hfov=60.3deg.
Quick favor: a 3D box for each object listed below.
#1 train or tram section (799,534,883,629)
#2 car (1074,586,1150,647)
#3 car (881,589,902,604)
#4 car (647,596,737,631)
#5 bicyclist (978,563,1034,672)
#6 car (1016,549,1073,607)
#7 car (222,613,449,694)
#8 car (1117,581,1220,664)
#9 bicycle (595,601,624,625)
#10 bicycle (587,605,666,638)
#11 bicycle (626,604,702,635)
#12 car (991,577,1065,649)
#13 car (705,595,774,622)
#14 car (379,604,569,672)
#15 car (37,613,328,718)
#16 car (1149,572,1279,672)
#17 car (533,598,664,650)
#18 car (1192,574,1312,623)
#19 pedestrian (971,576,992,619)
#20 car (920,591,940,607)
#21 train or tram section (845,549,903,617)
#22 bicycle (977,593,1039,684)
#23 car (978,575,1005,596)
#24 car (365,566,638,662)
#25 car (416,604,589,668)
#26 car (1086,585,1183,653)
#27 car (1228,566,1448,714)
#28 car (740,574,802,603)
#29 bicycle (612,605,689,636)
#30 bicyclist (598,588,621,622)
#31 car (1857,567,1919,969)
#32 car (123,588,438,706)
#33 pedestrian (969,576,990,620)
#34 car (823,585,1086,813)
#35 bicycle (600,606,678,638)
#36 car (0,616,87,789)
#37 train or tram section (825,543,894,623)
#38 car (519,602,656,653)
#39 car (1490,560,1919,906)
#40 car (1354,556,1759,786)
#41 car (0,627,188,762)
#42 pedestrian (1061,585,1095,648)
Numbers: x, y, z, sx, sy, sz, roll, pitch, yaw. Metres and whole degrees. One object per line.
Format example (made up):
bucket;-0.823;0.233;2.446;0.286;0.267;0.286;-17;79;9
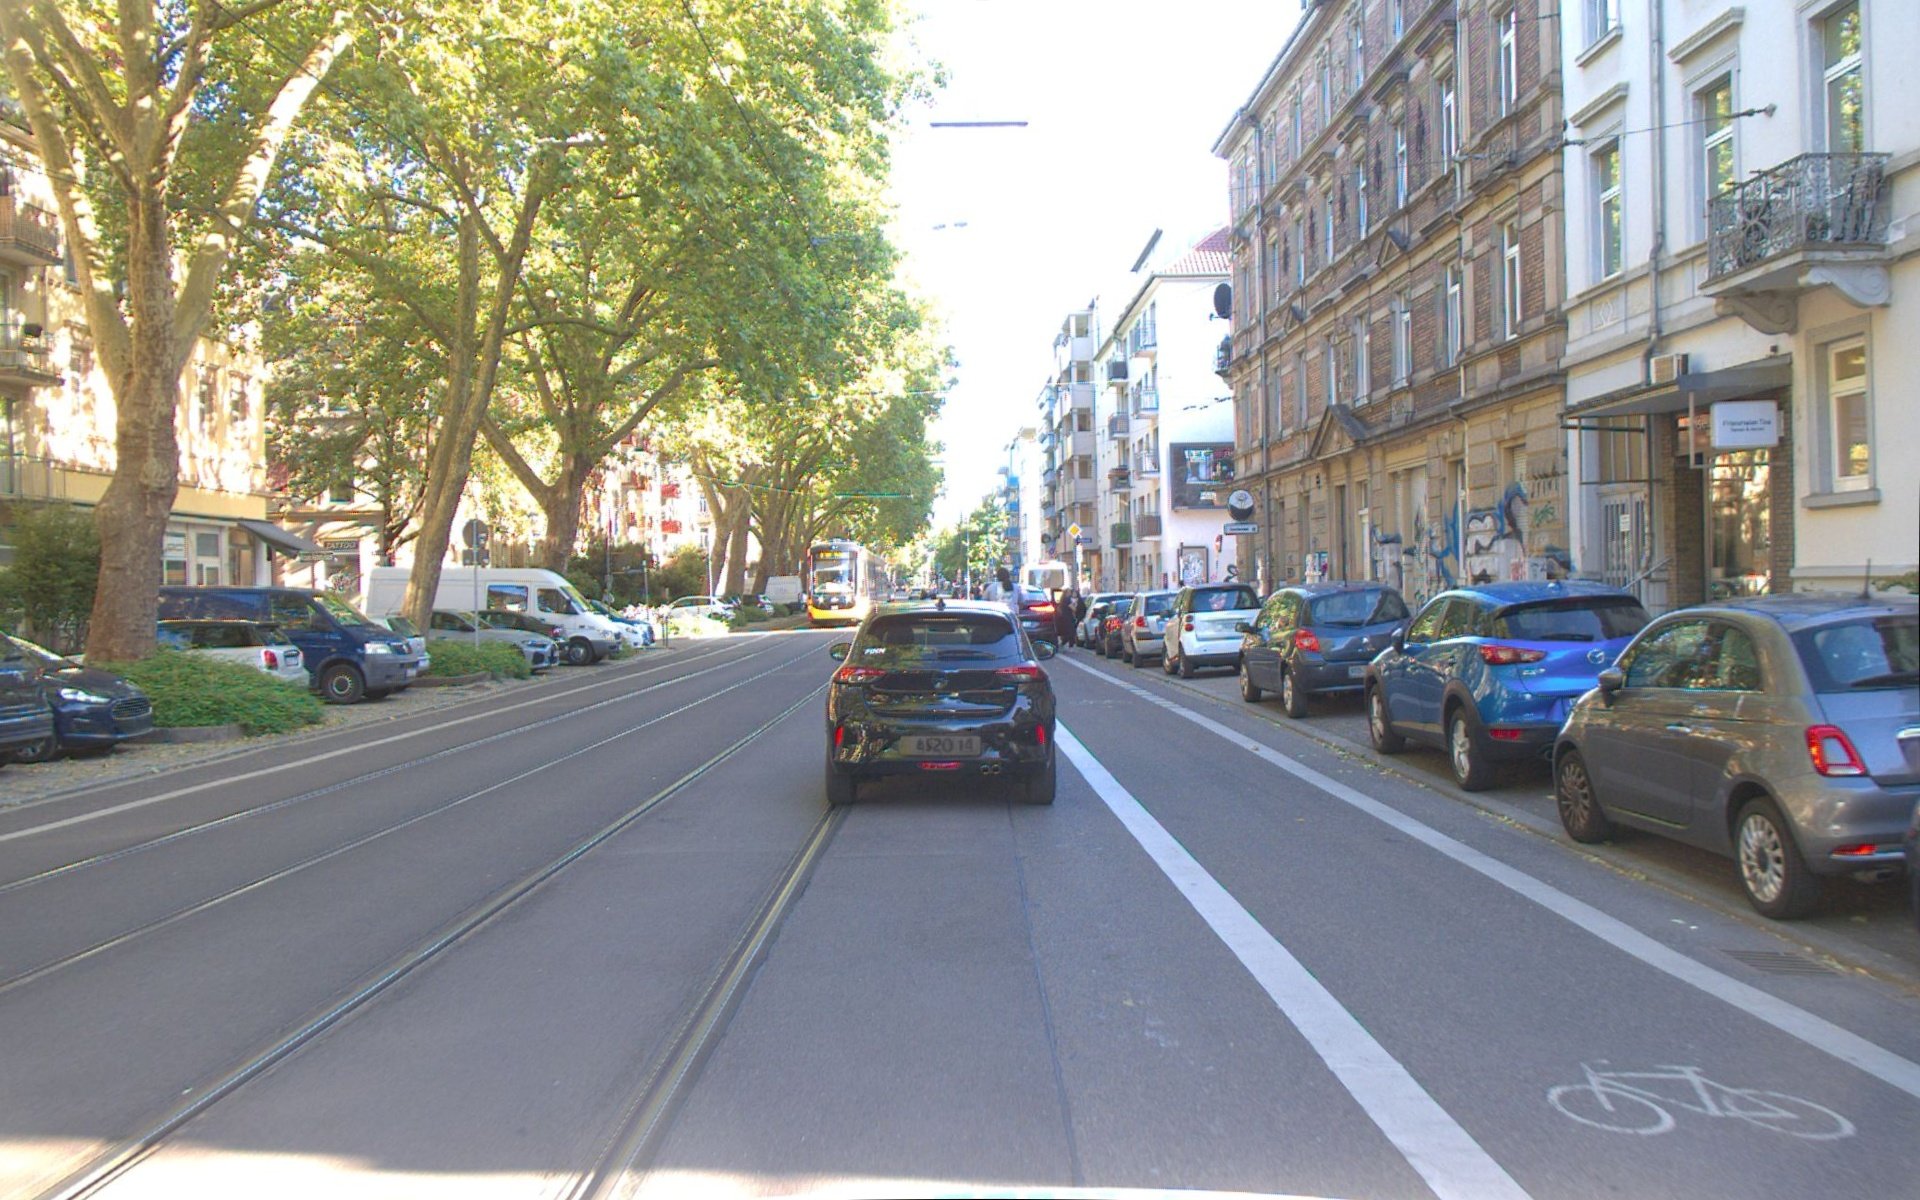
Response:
train or tram section;-5.135;-0.788;73.858;2.679;3.746;12.716;-2;0;0
car;4.099;0.414;45.065;1.628;1.444;3.933;-5;0;0
car;-6.463;-0.378;155.990;1.773;1.361;3.933;-2;0;0
car;-12.047;0.600;74.563;3.842;1.524;1.676;0;0;-4
bicyclist;0.764;0.286;27.710;0.831;1.770;1.161;-1;0;-2
car;3.622;-0.945;71.690;2.033;2.257;4.933;-5;0;0
car;-11.700;0.985;31.144;3.658;1.455;1.637;0;0;-1
car;4.243;0.418;34.108;1.670;1.481;3.698;-5;0;2
bicycle;-18.478;0.668;87.247;0.967;1.190;2.951;-1;0;-3
bicycle;-13.024;0.837;64.608;2.880;1.190;0.991;-1;0;16
bicycle;-12.179;0.791;68.064;2.880;1.190;0.991;-1;0;16
car;1.717;0.315;42.732;1.772;1.772;3.933;0;0;0
car;-12.731;0.477;95.681;3.842;1.524;1.676;0;0;-4
car;-11.077;0.849;37.864;3.839;1.524;1.677;0;0;0
car;-11.909;0.981;25.509;3.658;1.524;1.746;0;0;-1
car;4.405;0.363;29.058;1.537;1.543;3.038;-5;0;-3
car;-11.477;0.747;52.639;3.842;1.605;1.676;0;0;-4
car;11.366;-0.064;64.608;4.289;1.829;1.876;-1;0;-2
pedestrian;0.820;-0.089;61.973;0.664;1.594;0.769;-1;0;8
car;-2.751;-0.092;152.214;1.773;1.361;3.931;-1;0;-2
train or tram section;-5.062;-1.002;99.277;2.679;3.746;12.716;-2;0;0
bicycle;0.779;0.612;27.677;0.843;1.431;2.523;-1;0;-2
car;2.300;-1.059;121.883;1.773;1.361;3.933;-5;0;0
car;-11.962;0.356;43.533;6.493;2.451;2.457;0;0;-1
car;-11.278;0.880;40.969;3.842;1.524;1.676;0;0;-4
car;4.030;0.413;38.685;1.773;1.361;3.933;-5;0;0
car;4.538;0.438;20.404;1.676;1.509;3.763;-5;0;-1
car;-11.972;-0.724;104.974;3.842;1.821;1.676;0;0;-4
bicycle;-12.531;0.811;66.988;2.880;1.190;0.991;-1;0;16
bicyclist;-18.497;0.257;87.229;0.967;1.787;1.153;-1;0;-3
car;4.803;0.612;4.983;1.843;1.613;3.931;-5;0;-2
car;-11.573;0.778;28.405;4.579;1.957;1.980;0;0;0
pedestrian;0.714;-0.081;61.155;0.664;1.594;0.769;-1;0;8
car;-0.072;0.653;12.985;1.757;1.466;3.530;-1;1;-1
bicycle;-12.777;0.881;65.836;2.880;1.190;0.991;-1;0;16
car;-11.240;1.000;16.619;3.913;1.655;1.879;0;0;-1
train or tram section;-5.115;-0.873;86.547;2.679;3.746;12.716;-2;0;0
car;-11.268;0.824;50.180;3.842;1.524;1.676;0;0;-4
car;4.648;0.588;9.547;1.763;1.481;3.767;-5;0;-2
car;4.746;0.494;13.845;1.842;1.481;4.026;-5;0;0
car;-11.267;1.060;19.104;3.841;1.446;1.818;0;0;-3
pedestrian;3.023;0.420;42.424;0.848;1.594;0.769;-1;0;3
